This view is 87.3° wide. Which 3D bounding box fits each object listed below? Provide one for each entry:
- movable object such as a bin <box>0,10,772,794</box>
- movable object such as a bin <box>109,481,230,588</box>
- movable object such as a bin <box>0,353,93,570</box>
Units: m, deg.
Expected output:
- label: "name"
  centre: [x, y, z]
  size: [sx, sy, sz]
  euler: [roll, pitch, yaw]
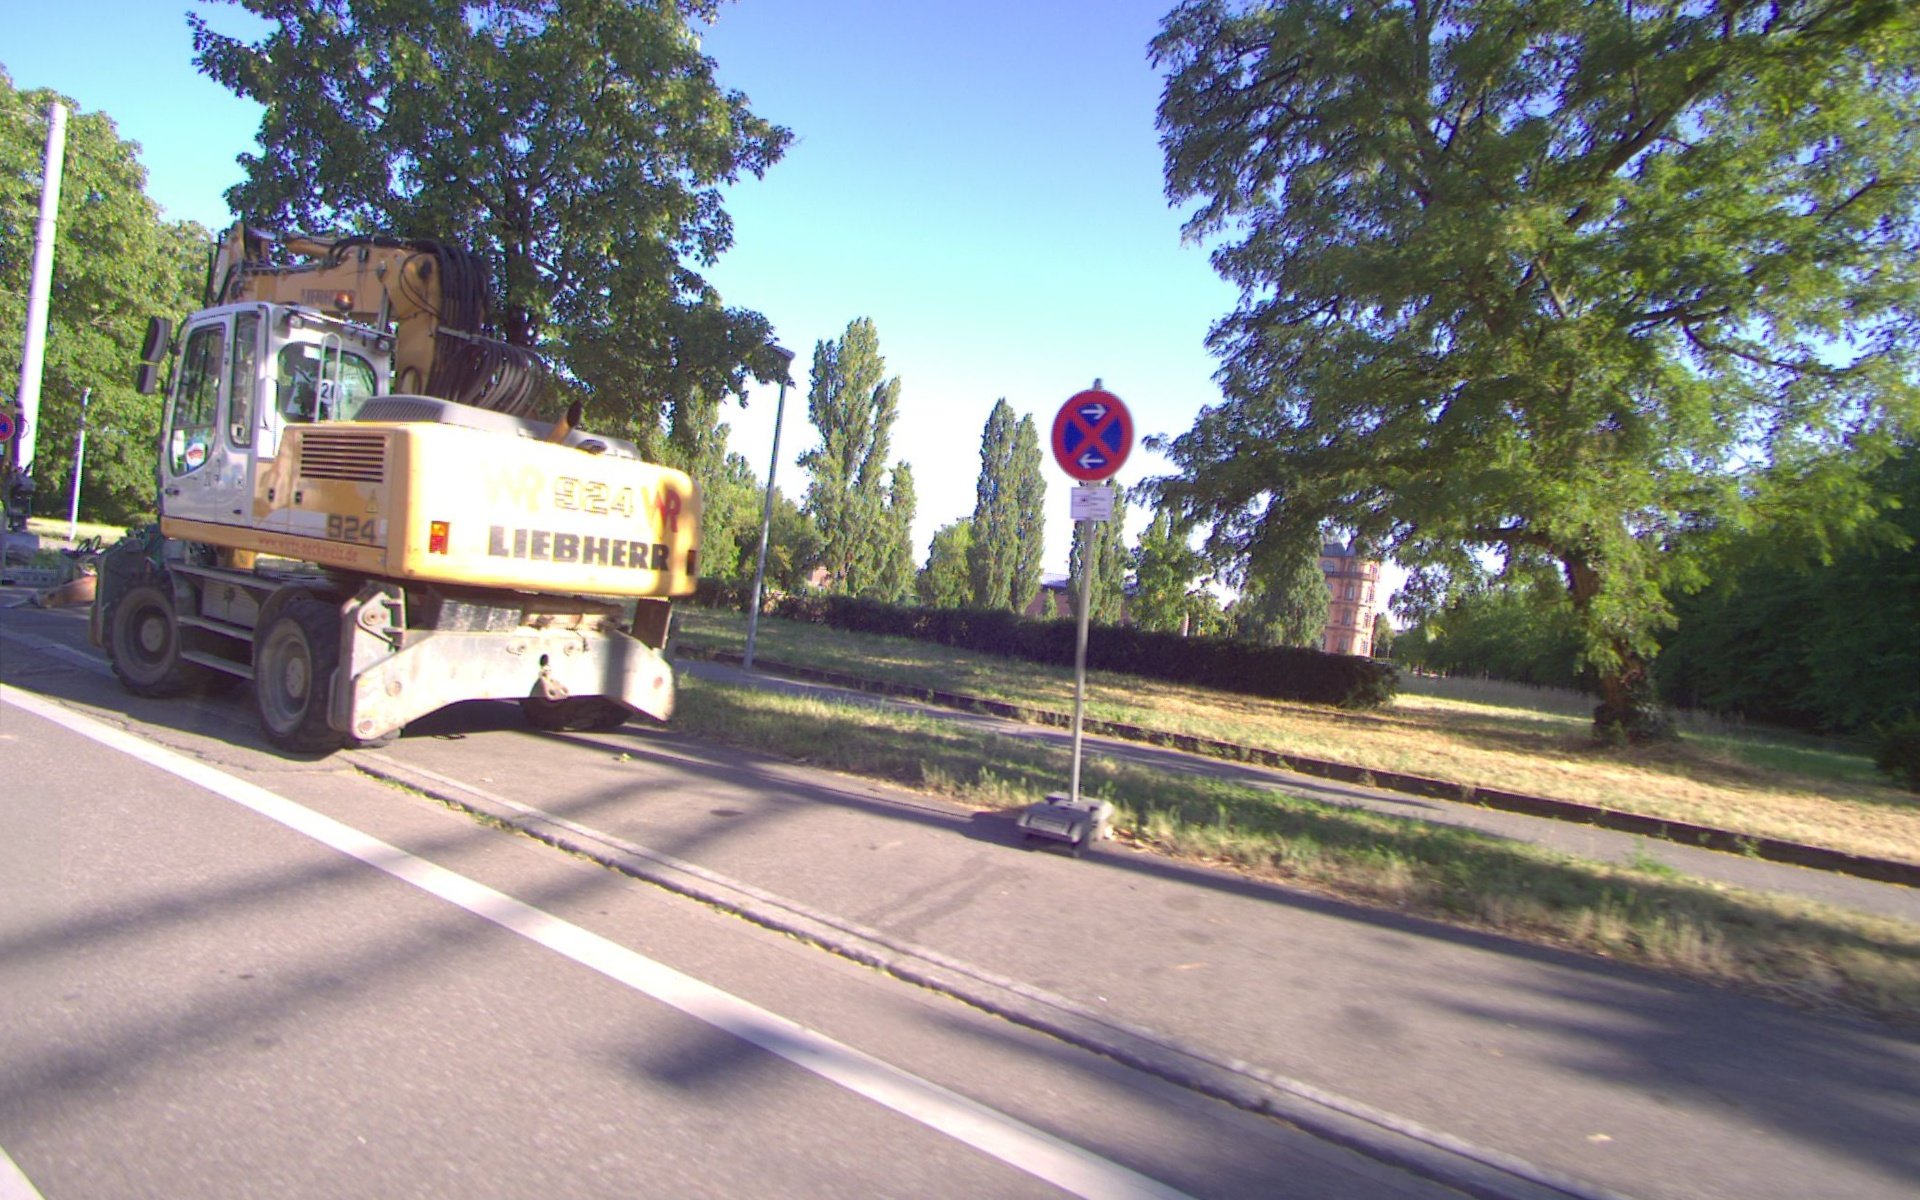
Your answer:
- label: "movable object such as a bin"
  centre: [-5.697, -1.471, 9.215]
  size: [7.471, 4.673, 2.914]
  euler: [7, 3, 31]
- label: "movable object such as a bin"
  centre: [-13.488, -1.119, 17.188]
  size: [1.282, 1.693, 1.314]
  euler: [7, 6, 36]
- label: "movable object such as a bin"
  centre: [-21.536, -3.009, 20.722]
  size: [7.471, 4.030, 3.339]
  euler: [7, 3, 31]
